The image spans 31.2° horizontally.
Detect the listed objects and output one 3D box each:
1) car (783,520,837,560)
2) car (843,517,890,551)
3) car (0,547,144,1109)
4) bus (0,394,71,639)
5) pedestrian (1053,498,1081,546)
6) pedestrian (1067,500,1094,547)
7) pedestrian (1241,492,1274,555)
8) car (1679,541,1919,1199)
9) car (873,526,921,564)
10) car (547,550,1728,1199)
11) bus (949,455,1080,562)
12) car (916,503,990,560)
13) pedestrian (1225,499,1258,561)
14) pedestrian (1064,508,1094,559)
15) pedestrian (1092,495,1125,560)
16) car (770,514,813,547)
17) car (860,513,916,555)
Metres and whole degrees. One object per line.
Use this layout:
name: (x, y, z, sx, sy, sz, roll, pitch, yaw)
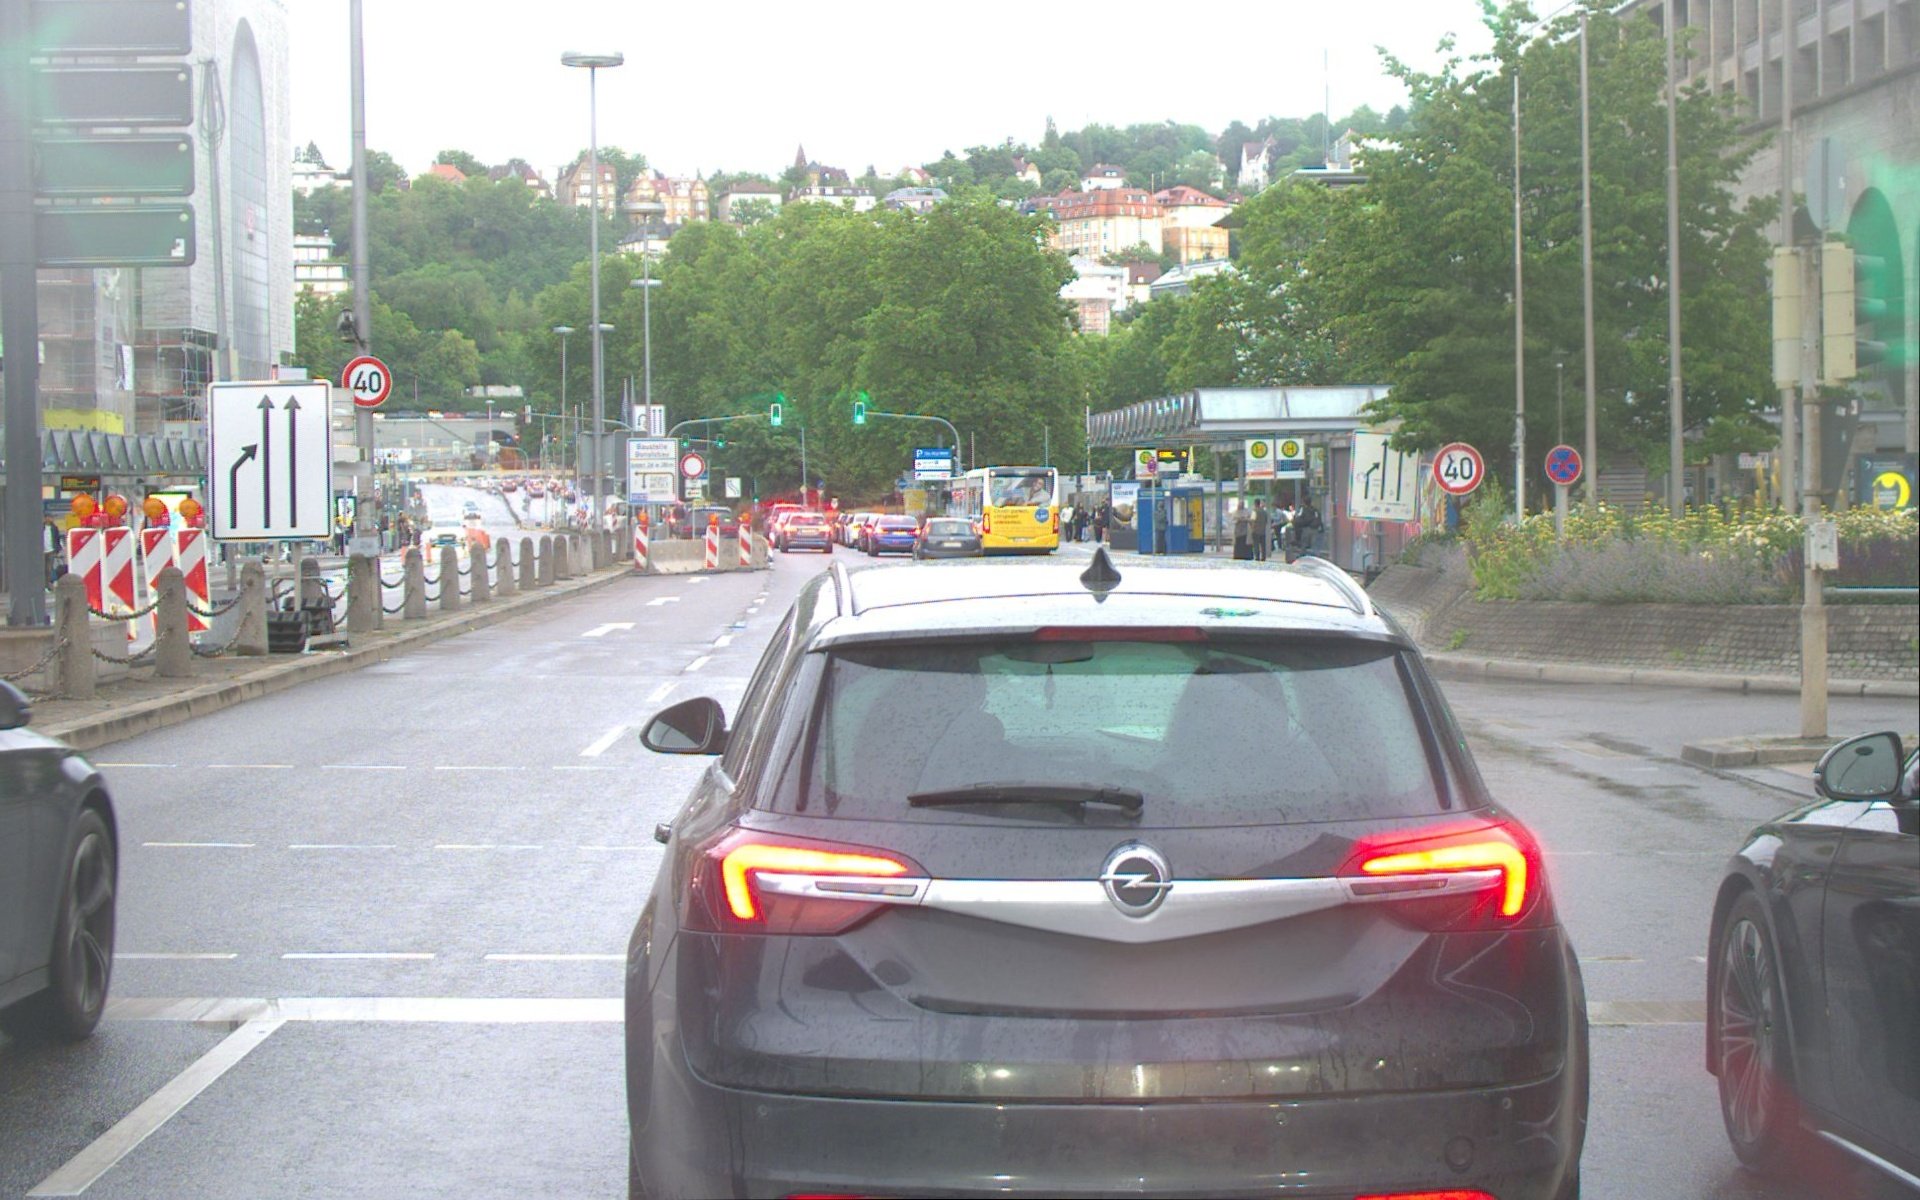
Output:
car: (-5.439, -2.181, 124.954, 1.845, 1.393, 3.564, 1, 1, -1)
car: (-3.871, -2.739, 142.789, 1.845, 1.393, 3.564, 1, 1, -1)
car: (-3.412, 0.591, 8.231, 1.855, 1.464, 4.587, 1, 1, -1)
bus: (-15.424, -1.228, 49.480, 2.668, 3.589, 10.212, 1, 1, -1)
pedestrian: (4.796, -3.502, 154.813, 1.199, 2.141, 1.228, 1, 1, 1)
pedestrian: (5.543, -3.512, 157.932, 1.199, 2.141, 1.228, 1, 1, 1)
pedestrian: (8.135, -2.086, 94.048, 0.763, 1.684, 0.825, 1, 1, -5)
car: (2.734, 0.653, 6.235, 1.793, 1.496, 4.629, 1, 1, -1)
car: (-2.412, -2.089, 131.073, 1.753, 1.393, 4.402, 1, 1, -2)
car: (0.243, 0.650, 7.496, 1.874, 1.481, 4.000, 1, 1, -1)
bus: (1.781, -3.109, 120.726, 4.173, 3.457, 14.655, 1, 1, -1)
car: (-0.197, -1.743, 88.207, 1.845, 1.393, 3.667, 1, 1, -1)
pedestrian: (7.817, -1.936, 95.345, 0.763, 1.684, 0.825, 1, 1, -5)
pedestrian: (4.986, -2.783, 144.494, 1.199, 2.141, 1.228, 1, 1, 1)
pedestrian: (5.630, -2.743, 130.567, 1.199, 2.427, 1.228, 1, 1, 1)
car: (-7.418, -3.049, 151.836, 1.759, 1.393, 3.564, 1, 1, -1)
car: (-2.487, -2.258, 118.186, 1.753, 1.393, 4.649, 1, 1, -3)
